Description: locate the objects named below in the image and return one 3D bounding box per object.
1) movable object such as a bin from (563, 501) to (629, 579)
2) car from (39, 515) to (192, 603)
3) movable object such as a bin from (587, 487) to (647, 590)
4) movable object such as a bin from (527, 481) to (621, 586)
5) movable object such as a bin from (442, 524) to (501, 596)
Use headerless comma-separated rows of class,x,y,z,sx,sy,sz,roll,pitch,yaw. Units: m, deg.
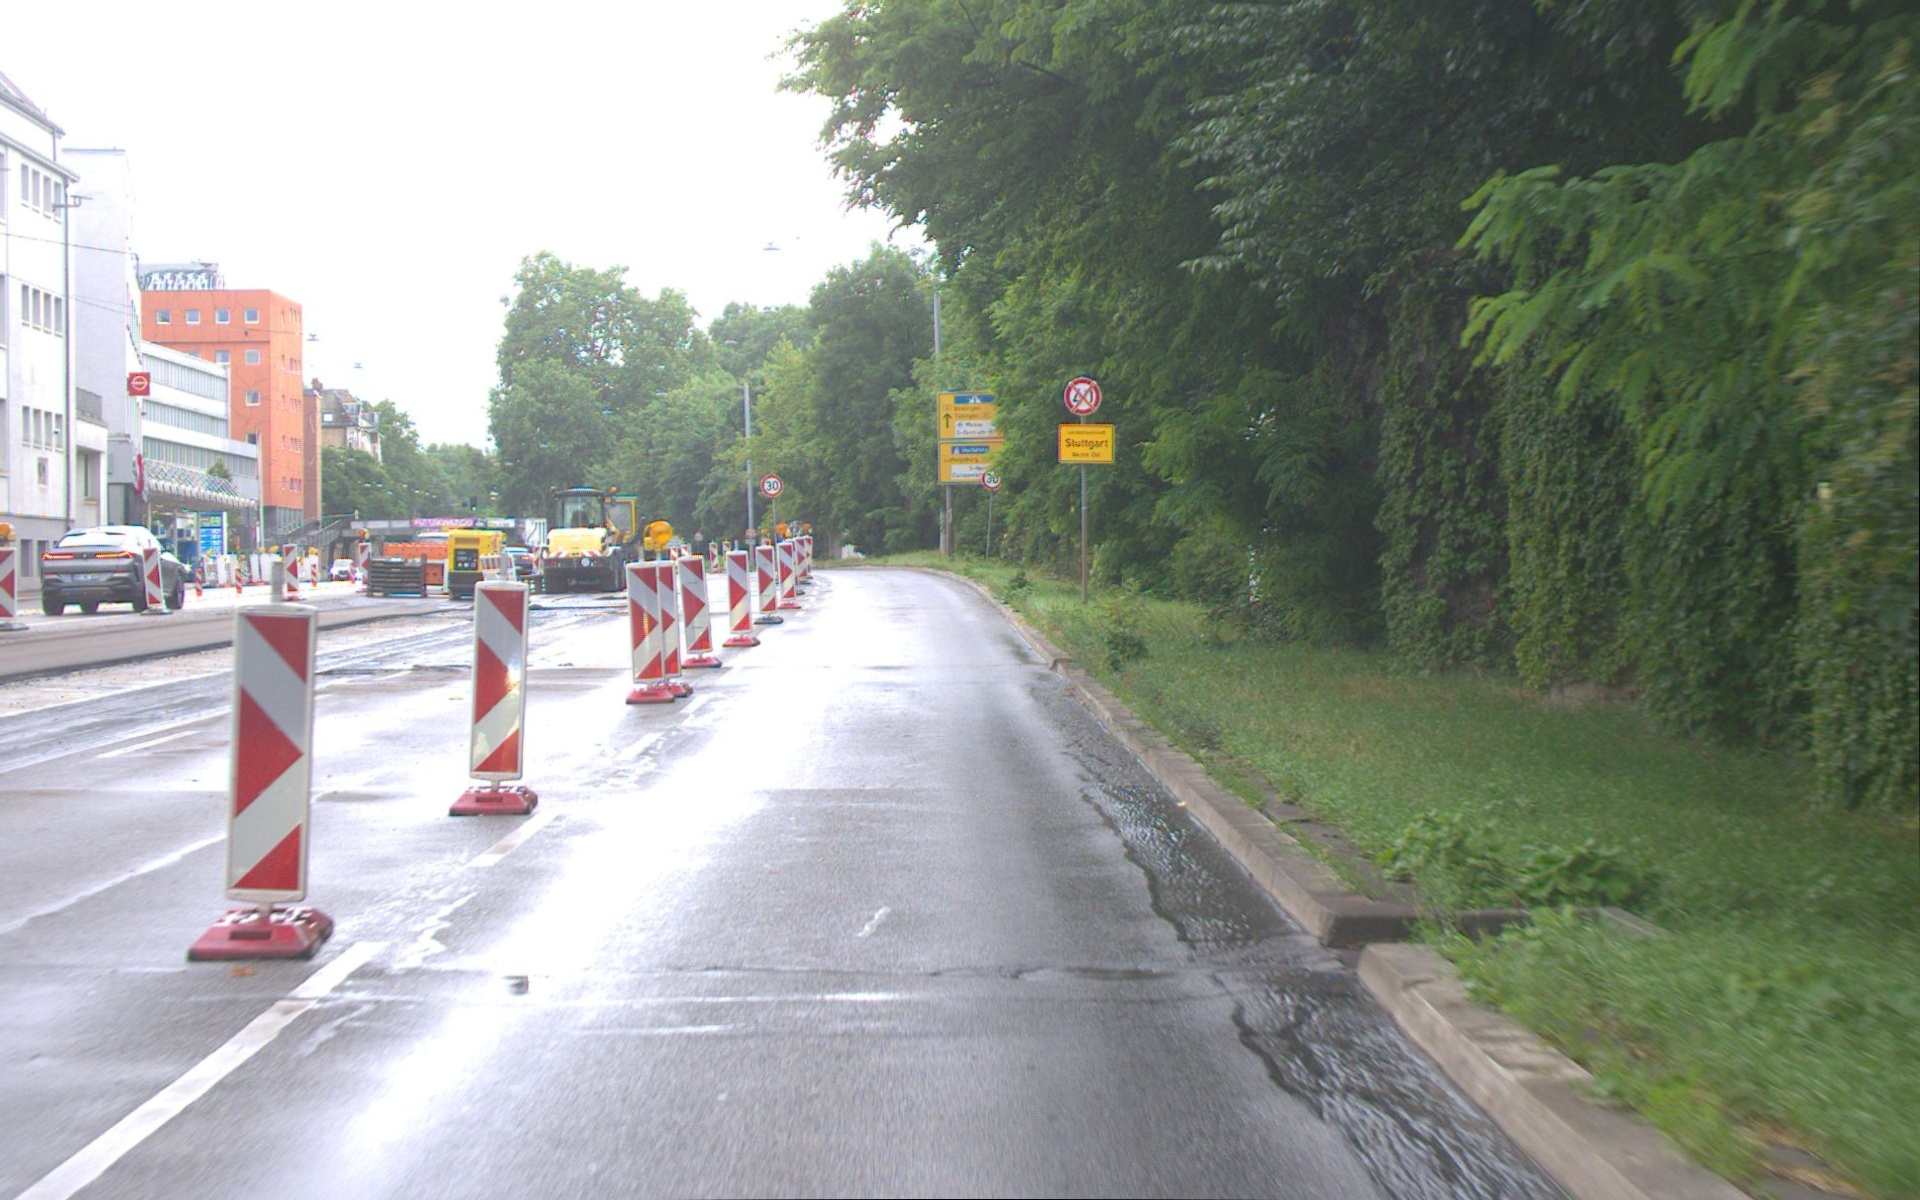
movable object such as a bin,-10.079,-1.686,95.376,1.362,2.083,5.030,-1,1,-1
car,-16.364,-0.802,66.814,1.893,1.644,4.396,0,1,0
movable object such as a bin,-10.433,-1.878,104.712,1.465,2.998,3.725,-3,1,-2
movable object such as a bin,-9.993,-1.734,89.349,1.902,2.600,5.383,-1,1,-1
movable object such as a bin,-11.437,-0.949,80.591,1.083,1.639,2.439,0,1,-2
